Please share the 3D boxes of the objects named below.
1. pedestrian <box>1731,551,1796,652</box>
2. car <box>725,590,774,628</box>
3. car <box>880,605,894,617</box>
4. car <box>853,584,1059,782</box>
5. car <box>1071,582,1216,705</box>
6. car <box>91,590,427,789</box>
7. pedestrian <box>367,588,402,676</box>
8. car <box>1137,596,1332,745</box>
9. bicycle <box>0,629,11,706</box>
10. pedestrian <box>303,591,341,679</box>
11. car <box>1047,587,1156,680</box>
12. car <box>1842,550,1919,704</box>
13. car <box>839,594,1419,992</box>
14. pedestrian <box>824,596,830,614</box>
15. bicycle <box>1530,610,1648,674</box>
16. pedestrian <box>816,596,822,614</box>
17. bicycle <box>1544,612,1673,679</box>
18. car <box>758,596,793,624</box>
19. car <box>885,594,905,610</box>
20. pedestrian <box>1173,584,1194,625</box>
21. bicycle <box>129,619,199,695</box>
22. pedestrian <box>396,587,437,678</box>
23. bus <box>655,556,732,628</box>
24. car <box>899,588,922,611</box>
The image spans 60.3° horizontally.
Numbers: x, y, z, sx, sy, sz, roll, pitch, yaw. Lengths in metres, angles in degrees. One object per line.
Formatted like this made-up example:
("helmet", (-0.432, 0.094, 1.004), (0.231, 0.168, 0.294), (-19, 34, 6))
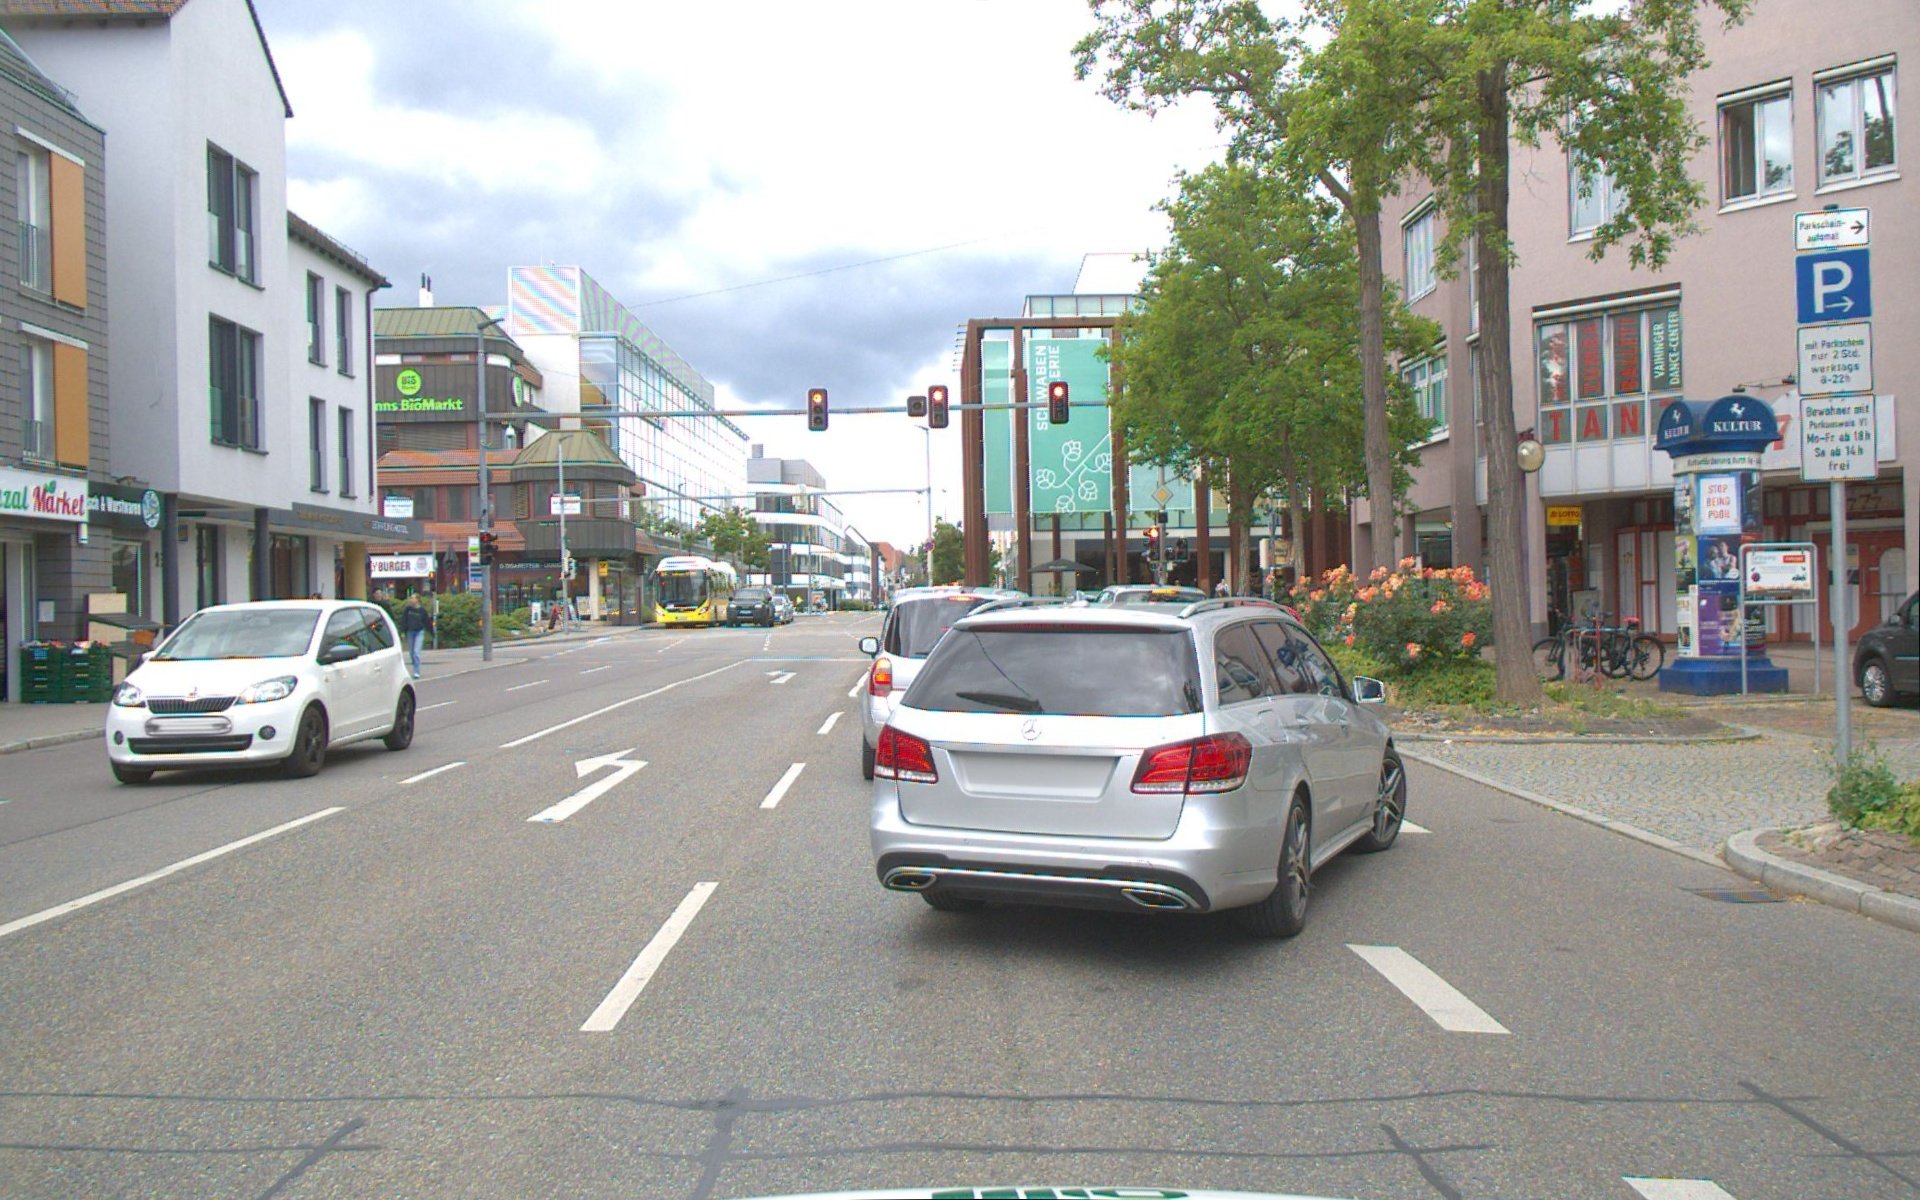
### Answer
("pedestrian", (14.825, 0.023, 30.543), (0.773, 1.824, 0.819), (-1, 0, -1))
("car", (-10.009, 0.395, 78.850), (1.953, 1.736, 4.063), (-1, 0, -2))
("car", (-10.263, 1.509, 232.120), (1.764, 1.567, 4.065), (-1, 0, 1))
("car", (-0.055, 0.644, 14.688), (1.606, 1.554, 3.393), (0, 0, -1))
("car", (2.631, 0.587, 24.521), (1.555, 1.662, 3.915), (1, 0, -2))
("car", (-6.074, 0.695, 14.754), (1.542, 1.514, 3.463), (-2, 0, -1))
("pedestrian", (-11.923, 0.656, 34.290), (0.558, 1.806, 0.645), (-1, 0, -10))
("car", (2.949, 0.710, 18.362), (1.554, 1.468, 3.348), (1, 0, -1))
("bicycle", (-14.779, 1.026, 25.331), (0.382, 1.147, 1.276), (-1, 0, -31))
("pedestrian", (-12.351, 0.665, 32.037), (0.642, 1.679, 0.556), (-1, 0, -20))
("car", (2.599, 0.587, 31.160), (1.555, 1.623, 3.866), (1, 0, -2))
("car", (12.434, 0.307, 19.567), (1.605, 1.863, 3.963), (-2, 0, -5))
("car", (1.172, 0.746, 8.614), (1.778, 1.474, 4.368), (1, 0, 23))
("pedestrian", (-13.159, 0.485, 163.725), (0.511, 1.764, 0.487), (-1, 0, -17))
("bicycle", (10.245, 0.685, 26.981), (1.731, 1.014, 0.447), (-1, 0, 3))
("pedestrian", (-13.915, 0.486, 163.532), (0.511, 1.764, 0.487), (-1, 0, -16))
("bicycle", (10.349, 0.724, 26.428), (1.861, 1.014, 0.468), (-1, 0, 3))
("car", (-9.635, 0.523, 86.443), (1.524, 1.417, 3.286), (-1, 0, -2))
("car", (-6.428, 0.205, 163.776), (1.764, 1.567, 4.065), (-1, 0, 1))
("pedestrian", (9.059, 0.182, 67.026), (0.641, 1.679, 0.557), (-1, 0, -15))
("bicycle", (-13.406, 0.941, 27.887), (0.378, 1.207, 1.824), (-1, 0, -4))
("pedestrian", (-11.076, 0.662, 33.716), (0.669, 1.821, 0.647), (-1, 0, -11))
("bus", (-13.013, -0.396, 81.379), (2.632, 3.318, 8.650), (-1, 0, -2))
("car", (-4.378, -0.030, 146.544), (1.953, 1.983, 4.949), (-1, 0, -2))
